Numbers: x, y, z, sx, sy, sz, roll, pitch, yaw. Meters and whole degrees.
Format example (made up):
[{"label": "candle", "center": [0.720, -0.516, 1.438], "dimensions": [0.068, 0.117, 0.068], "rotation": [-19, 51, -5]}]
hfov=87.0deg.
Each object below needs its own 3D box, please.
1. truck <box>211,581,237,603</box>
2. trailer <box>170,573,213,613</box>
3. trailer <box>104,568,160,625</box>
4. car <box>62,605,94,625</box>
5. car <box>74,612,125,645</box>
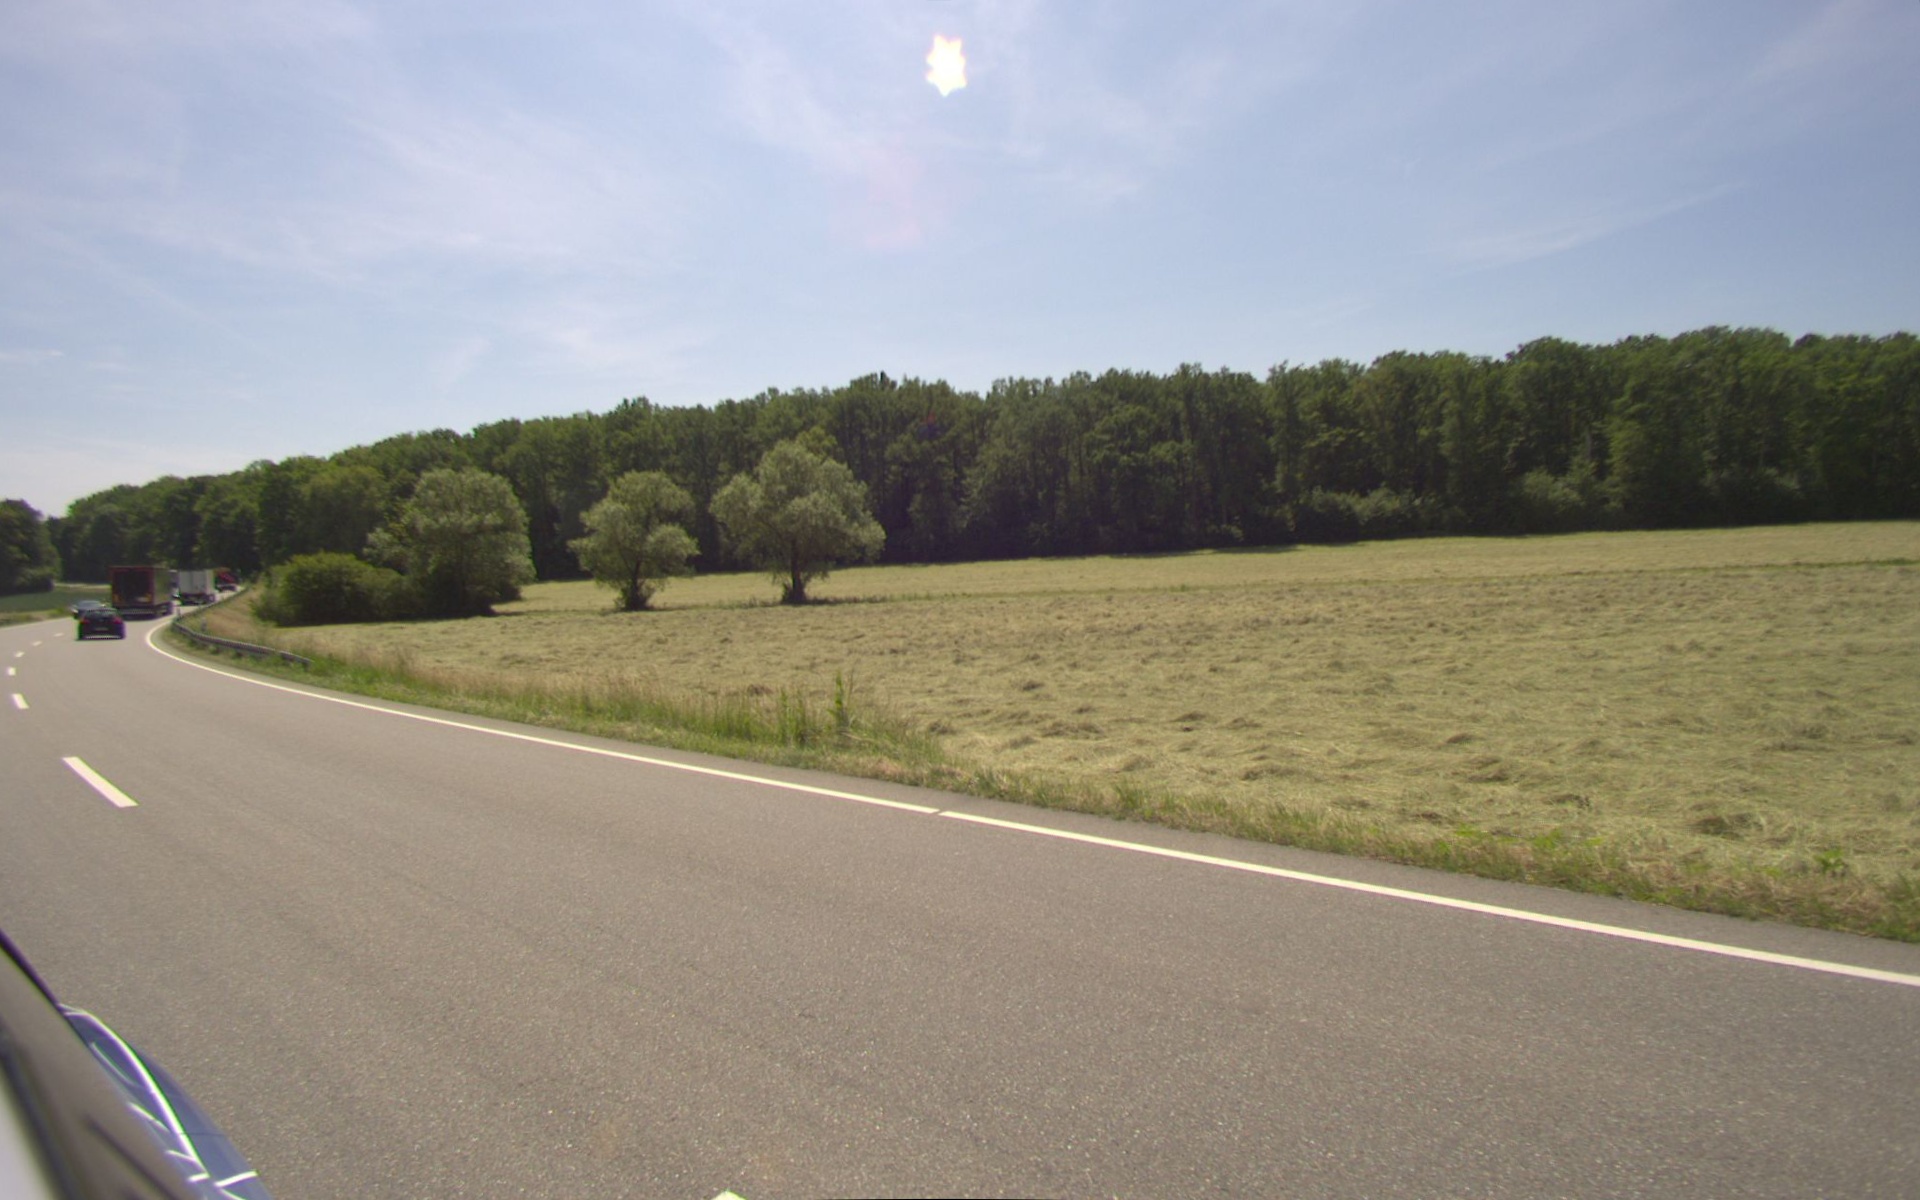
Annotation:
[{"label": "truck", "center": [-128.064, -1.444, 176.105], "dimensions": [2.666, 3.677, 10.130], "rotation": [-2, 2, -31]}, {"label": "trailer", "center": [-91.466, -0.847, 120.641], "dimensions": [3.328, 4.434, 13.781], "rotation": [-1, 1, -35]}, {"label": "trailer", "center": [-65.858, -0.291, 80.646], "dimensions": [3.200, 4.181, 14.471], "rotation": [0, 0, -39]}, {"label": "car", "center": [-71.137, 1.173, 81.645], "dimensions": [1.596, 1.447, 3.451], "rotation": [-3, 2, -35]}, {"label": "car", "center": [-41.251, 1.344, 48.578], "dimensions": [1.678, 1.480, 4.209], "rotation": [0, 0, -38]}]
